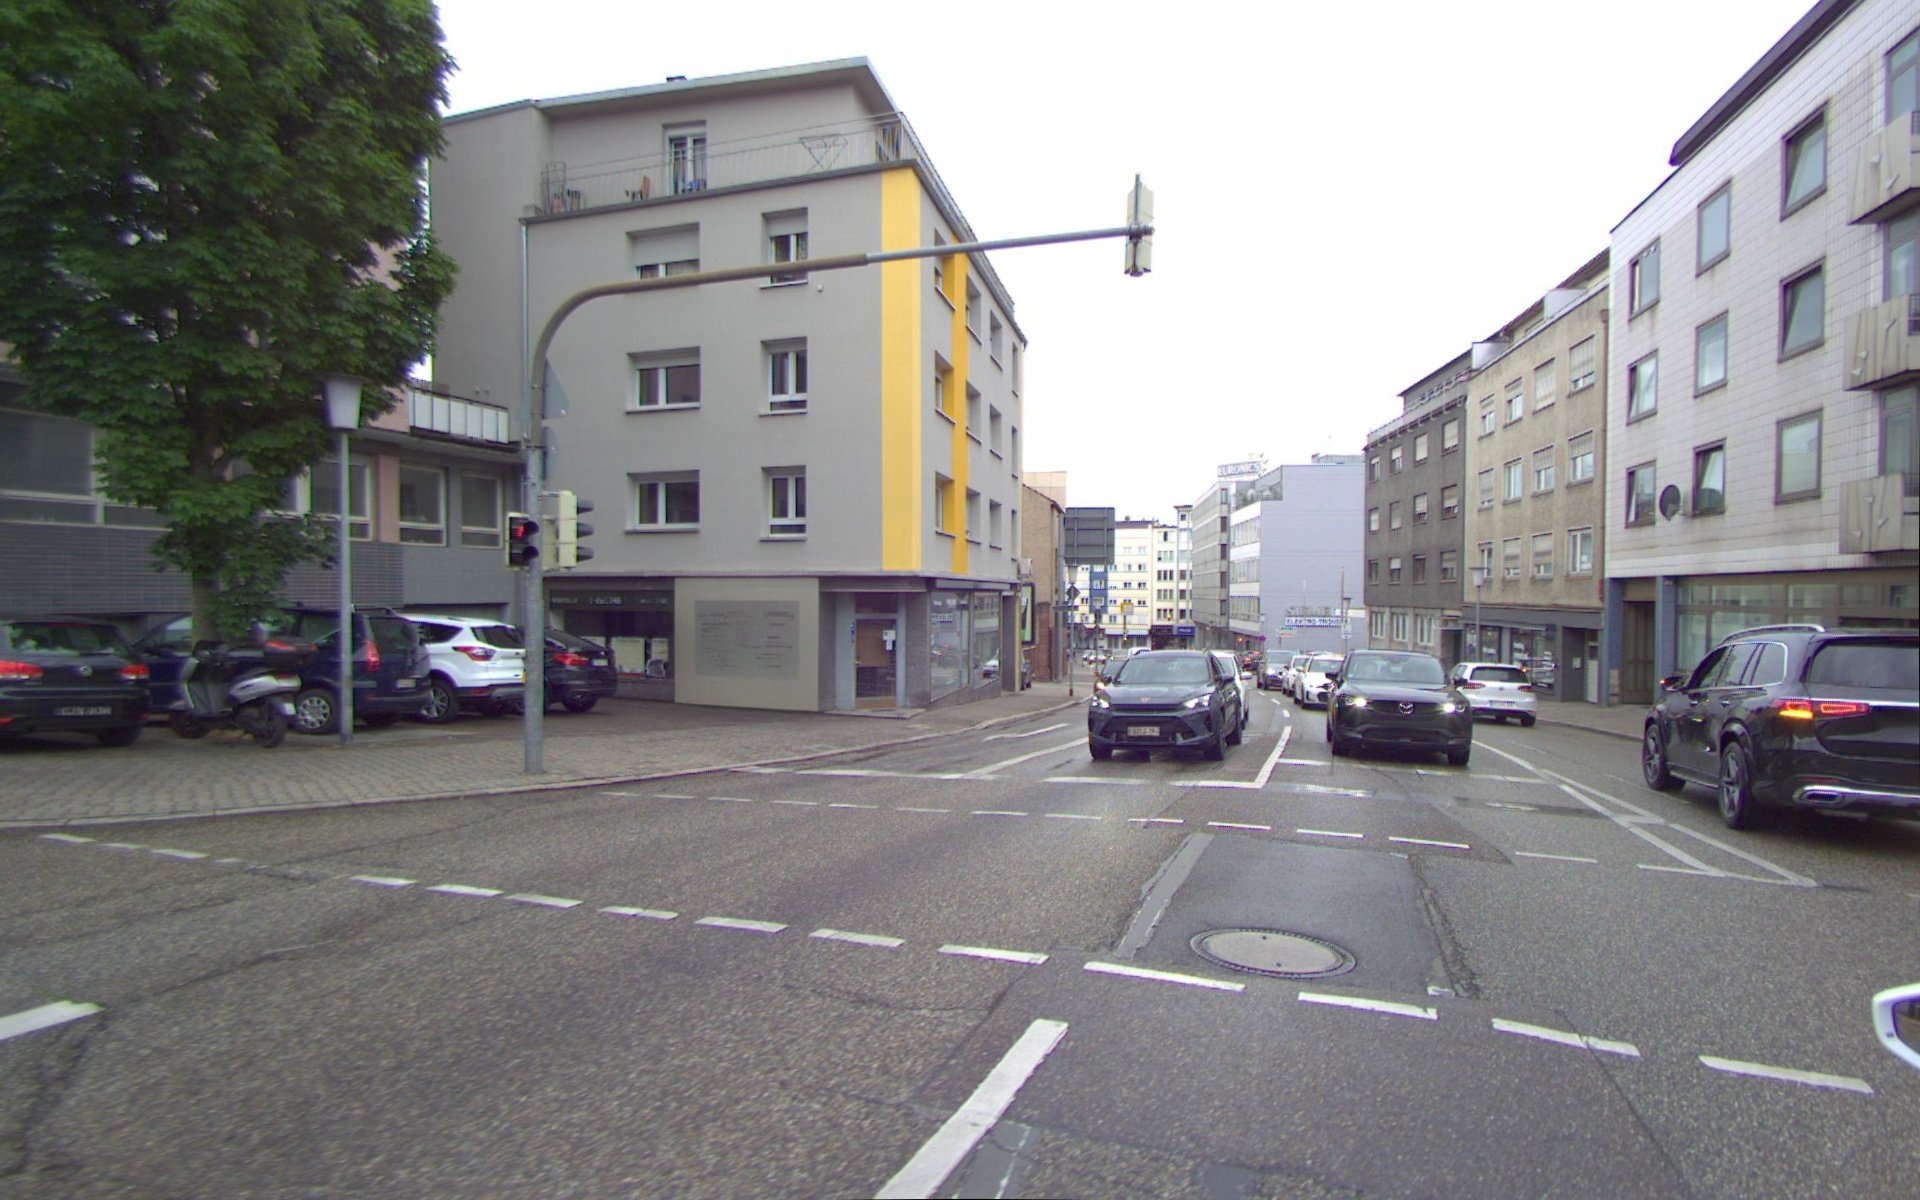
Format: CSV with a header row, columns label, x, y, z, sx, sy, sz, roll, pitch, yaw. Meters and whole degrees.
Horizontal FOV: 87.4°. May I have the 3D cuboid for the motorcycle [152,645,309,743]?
label,x,y,z,sx,sy,sz,roll,pitch,yaw
motorcycle,-8.741,1.109,12.034,1.758,1.046,0.454,2,-1,13

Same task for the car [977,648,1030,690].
label,x,y,z,sx,sy,sz,roll,pitch,yaw
car,1.775,2.679,39.594,1.662,1.474,4.668,2,-2,8

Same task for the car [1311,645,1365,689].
label,x,y,z,sx,sy,sz,roll,pitch,yaw
car,18.950,3.349,50.487,1.723,1.804,3.576,2,2,7

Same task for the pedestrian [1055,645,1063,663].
label,x,y,z,sx,sy,sz,roll,pitch,yaw
pedestrian,9.796,5.336,99.058,0.727,1.675,0.606,1,2,3

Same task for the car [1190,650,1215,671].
label,x,y,z,sx,sy,sz,roll,pitch,yaw
car,18.591,4.632,77.054,1.669,1.499,4.295,3,-3,12

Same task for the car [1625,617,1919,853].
label,x,y,z,sx,sy,sz,roll,pitch,yaw
car,8.182,1.191,9.794,1.988,1.762,4.747,1,-3,23

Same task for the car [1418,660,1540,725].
label,x,y,z,sx,sy,sz,roll,pitch,yaw
car,13.135,2.286,25.710,1.799,1.480,4.382,0,-3,14

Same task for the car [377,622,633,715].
label,x,y,z,sx,sy,sz,roll,pitch,yaw
car,-8.470,1.267,18.880,3.919,1.515,1.863,2,-4,8

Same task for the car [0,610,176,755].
label,x,y,z,sx,sy,sz,roll,pitch,yaw
car,-11.233,0.826,11.451,3.921,1.377,1.738,2,-2,20

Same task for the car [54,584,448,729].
label,x,y,z,sx,sy,sz,roll,pitch,yaw
car,-10.053,0.822,14.506,4.262,1.750,1.774,3,-4,-1

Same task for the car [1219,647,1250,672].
label,x,y,z,sx,sy,sz,roll,pitch,yaw
car,17.946,3.889,65.744,1.669,1.499,4.295,3,-3,12

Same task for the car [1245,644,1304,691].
label,x,y,z,sx,sy,sz,roll,pitch,yaw
car,12.943,2.760,41.550,1.776,1.727,4.566,3,-2,11

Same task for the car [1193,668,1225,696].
label,x,y,z,sx,sy,sz,roll,pitch,yaw
car,15.189,4.996,61.354,1.669,1.499,4.295,3,-3,12

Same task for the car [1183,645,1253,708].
label,x,y,z,sx,sy,sz,roll,pitch,yaw
car,7.366,2.151,28.711,1.776,1.652,4.346,-2,-4,14

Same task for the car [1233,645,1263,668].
label,x,y,z,sx,sy,sz,roll,pitch,yaw
car,20.154,3.963,70.482,1.669,1.499,4.295,3,-3,12

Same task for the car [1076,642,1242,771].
label,x,y,z,sx,sy,sz,roll,pitch,yaw
car,3.087,1.415,14.845,1.789,1.497,4.379,1,-1,19

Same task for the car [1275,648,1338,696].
label,x,y,z,sx,sy,sz,roll,pitch,yaw
car,12.335,2.555,35.954,1.669,1.499,4.294,3,-3,14

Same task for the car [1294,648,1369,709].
label,x,y,z,sx,sy,sz,roll,pitch,yaw
car,10.425,2.183,28.424,1.776,1.541,4.564,1,-3,18

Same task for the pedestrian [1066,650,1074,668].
label,x,y,z,sx,sy,sz,roll,pitch,yaw
pedestrian,10.827,5.834,99.032,0.660,1.675,0.606,1,2,3

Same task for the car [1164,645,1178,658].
label,x,y,z,sx,sy,sz,roll,pitch,yaw
car,26.446,6.482,126.001,1.496,1.568,3.109,2,-2,8

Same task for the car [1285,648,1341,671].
label,x,y,z,sx,sy,sz,roll,pitch,yaw
car,28.924,4.889,82.376,3.932,1.617,1.795,4,-3,-13

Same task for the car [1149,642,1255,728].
label,x,y,z,sx,sy,sz,roll,pitch,yaw
car,5.314,1.729,21.634,1.777,1.563,4.379,1,-1,19

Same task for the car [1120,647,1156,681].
label,x,y,z,sx,sy,sz,roll,pitch,yaw
car,10.020,3.605,56.727,1.698,1.853,4.064,-1,-3,7

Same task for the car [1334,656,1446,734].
label,x,y,z,sx,sy,sz,roll,pitch,yaw
car,9.093,1.953,21.536,1.776,1.433,4.381,1,-3,18

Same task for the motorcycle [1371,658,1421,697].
label,x,y,z,sx,sy,sz,roll,pitch,yaw
motorcycle,15.929,2.801,36.759,0.853,1.071,2.939,2,2,7

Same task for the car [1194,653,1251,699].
label,x,y,z,sx,sy,sz,roll,pitch,yaw
car,9.189,2.642,35.395,1.710,1.535,4.134,-1,-3,12

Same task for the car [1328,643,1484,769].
label,x,y,z,sx,sy,sz,roll,pitch,yaw
car,6.574,1.512,15.203,1.789,1.557,4.381,1,-4,19

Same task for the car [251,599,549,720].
label,x,y,z,sx,sy,sz,roll,pitch,yaw
car,-9.260,0.989,16.824,3.919,1.817,1.863,1,-4,6
